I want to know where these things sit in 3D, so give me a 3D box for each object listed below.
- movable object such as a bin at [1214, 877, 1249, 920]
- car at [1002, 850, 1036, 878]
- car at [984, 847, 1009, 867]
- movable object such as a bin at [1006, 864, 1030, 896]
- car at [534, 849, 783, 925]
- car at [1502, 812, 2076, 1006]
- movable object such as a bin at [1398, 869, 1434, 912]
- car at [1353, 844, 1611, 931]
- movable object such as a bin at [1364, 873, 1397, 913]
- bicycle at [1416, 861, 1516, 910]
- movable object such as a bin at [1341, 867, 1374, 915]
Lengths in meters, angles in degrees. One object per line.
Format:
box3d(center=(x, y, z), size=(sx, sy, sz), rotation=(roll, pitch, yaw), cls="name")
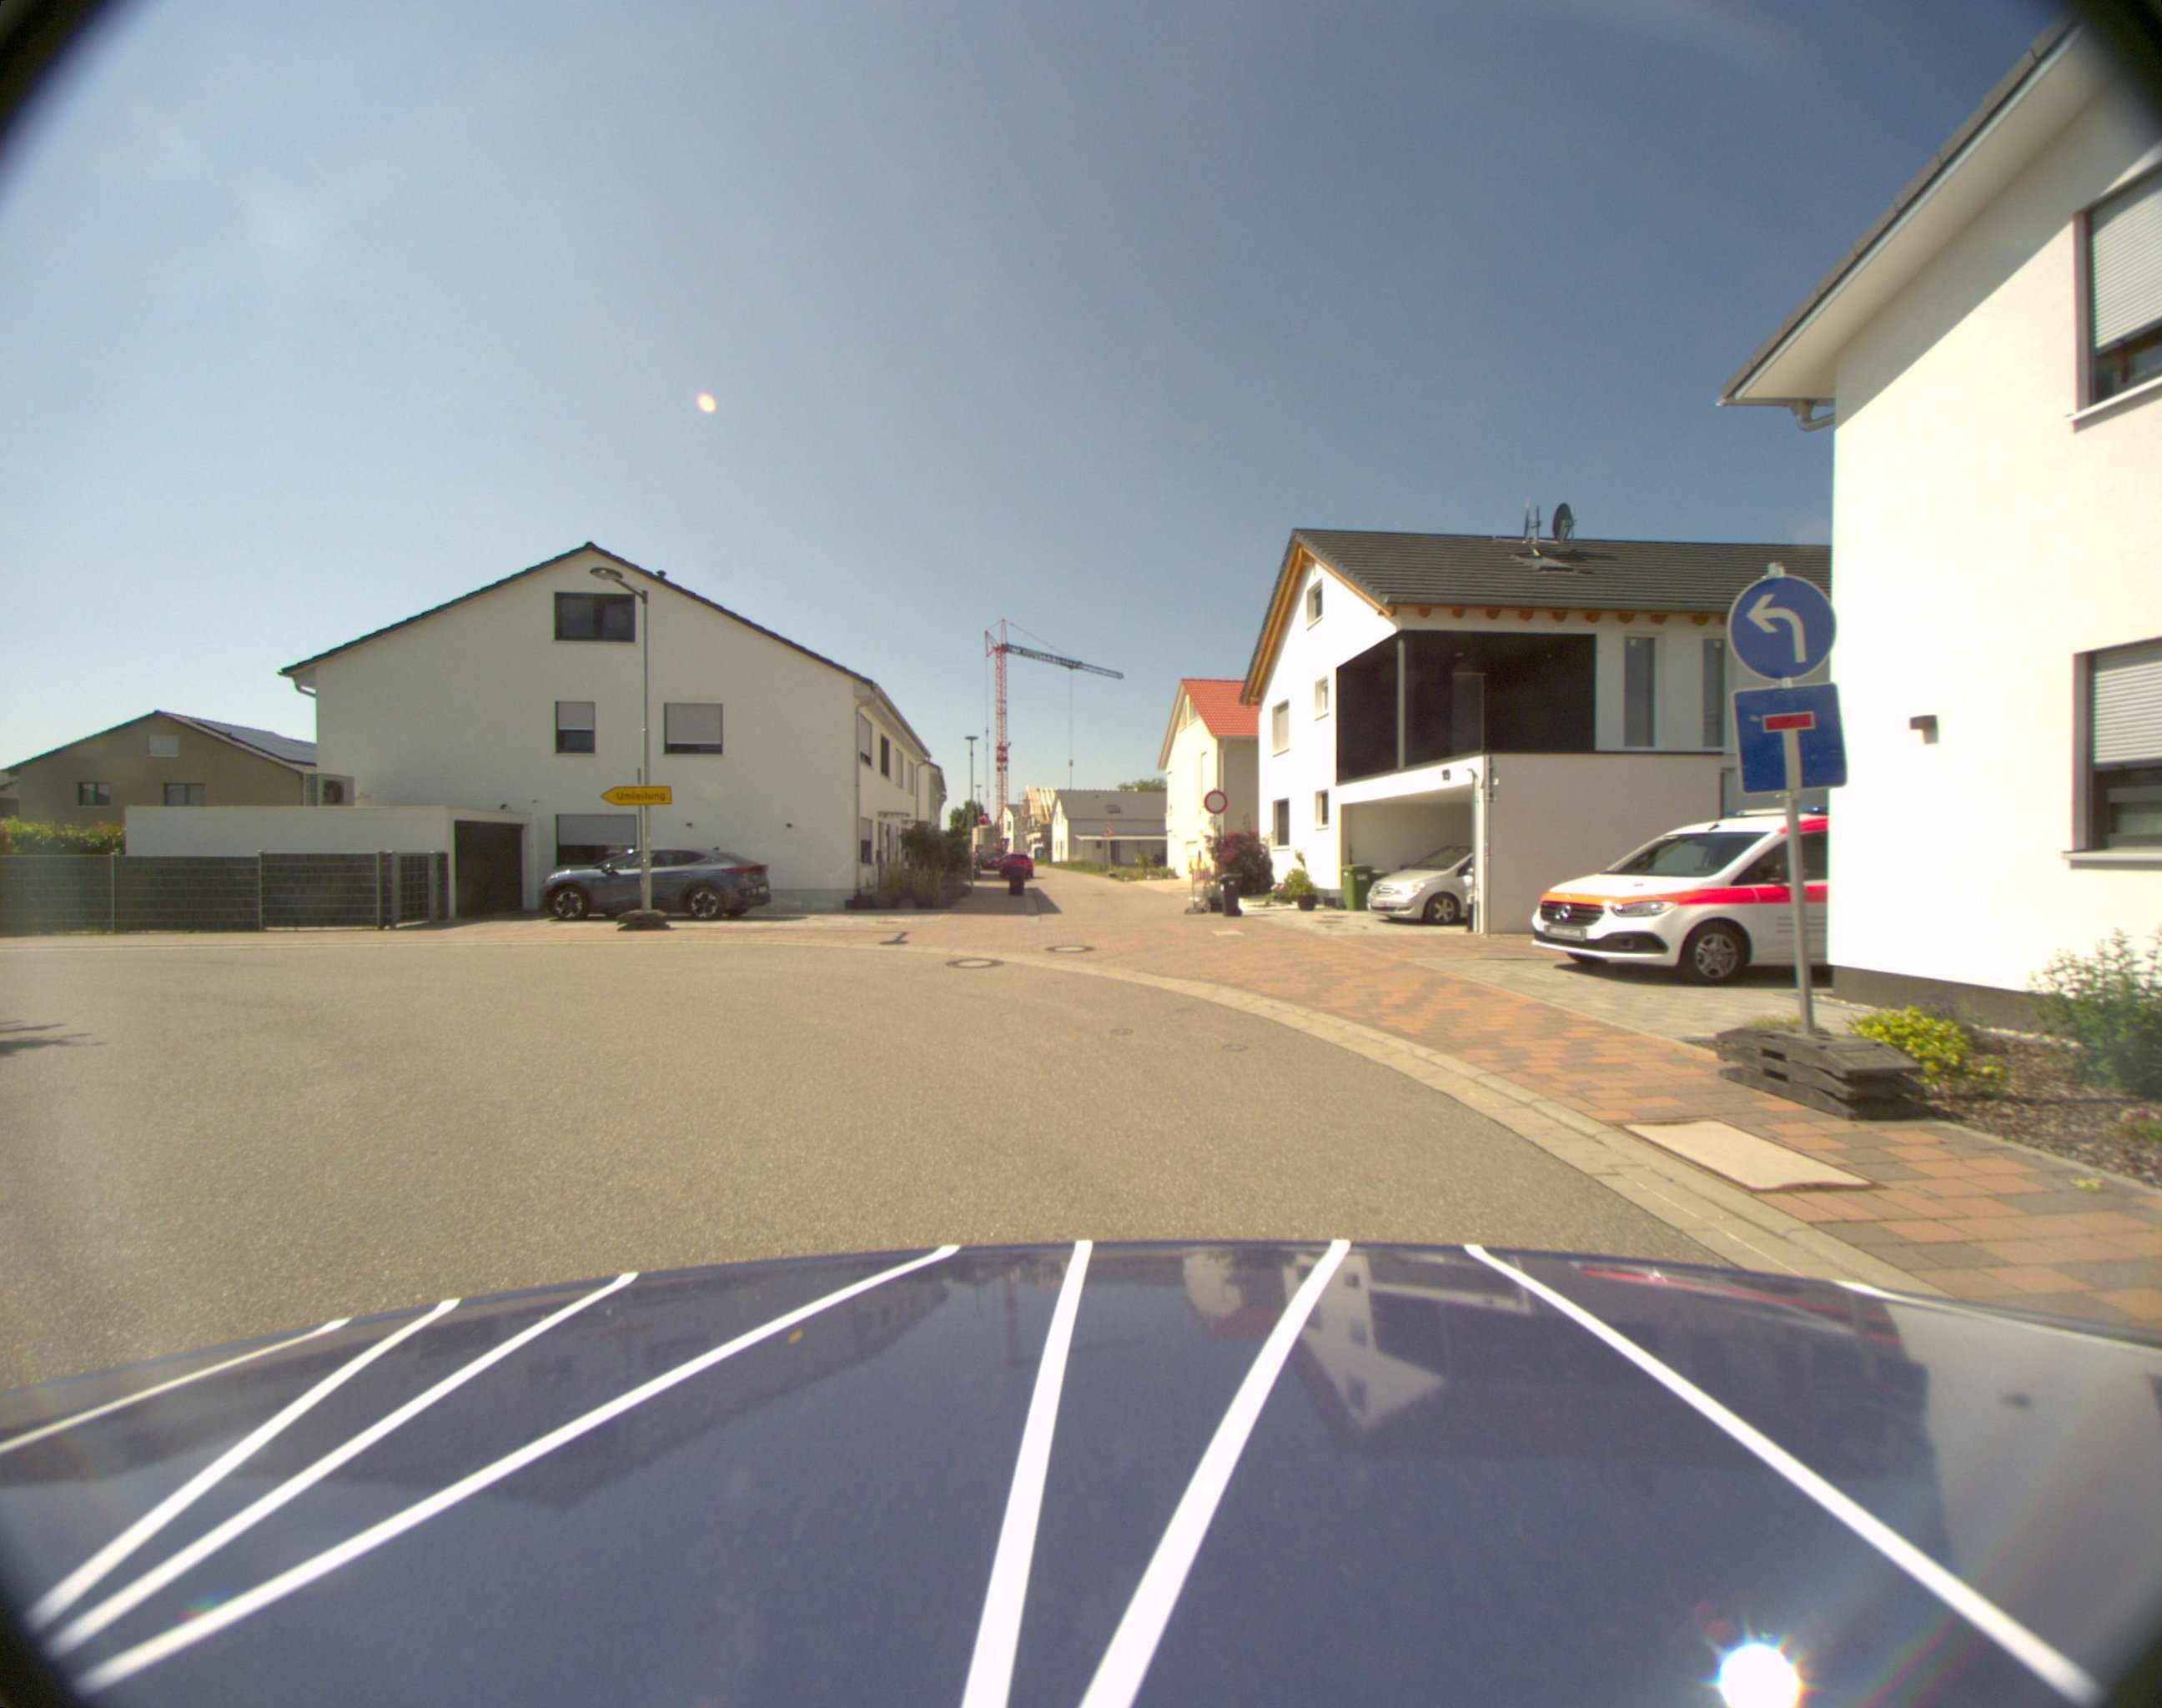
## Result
box3d(center=(3.357, 0.982, 16.971), size=(0.618, 0.931, 0.564), rotation=(-1, 0, -6), cls="movable object such as a bin")
box3d(center=(-3.678, 0.560, 44.518), size=(1.912, 1.470, 3.997), rotation=(0, 1, -6), cls="car")
box3d(center=(-7.127, 0.231, 63.862), size=(1.804, 1.609, 3.671), rotation=(-1, 1, -12), cls="car")
box3d(center=(-2.237, 0.914, 26.869), size=(0.824, 1.058, 0.589), rotation=(-1, 2, -6), cls="movable object such as a bin")
box3d(center=(-9.127, 0.683, 16.729), size=(4.349, 1.549, 1.960), rotation=(0, 0, -4), cls="car")
box3d(center=(7.554, 0.525, 8.429), size=(4.750, 1.864, 1.937), rotation=(0, 1, -4), cls="car")
box3d(center=(7.974, 0.862, 18.095), size=(0.500, 0.981, 0.676), rotation=(-1, 2, -6), cls="movable object such as a bin")
box3d(center=(7.665, 0.603, 14.709), size=(4.165, 1.553, 1.744), rotation=(0, 0, -7), cls="car")
box3d(center=(7.064, 0.906, 17.931), size=(0.500, 0.900, 0.561), rotation=(-1, 2, -6), cls="movable object such as a bin")
box3d(center=(9.439, 0.765, 18.664), size=(2.133, 1.120, 0.778), rotation=(0, 2, -10), cls="bicycle")
box3d(center=(6.468, 0.860, 17.807), size=(0.500, 1.085, 0.601), rotation=(-1, -1, -6), cls="movable object such as a bin")
